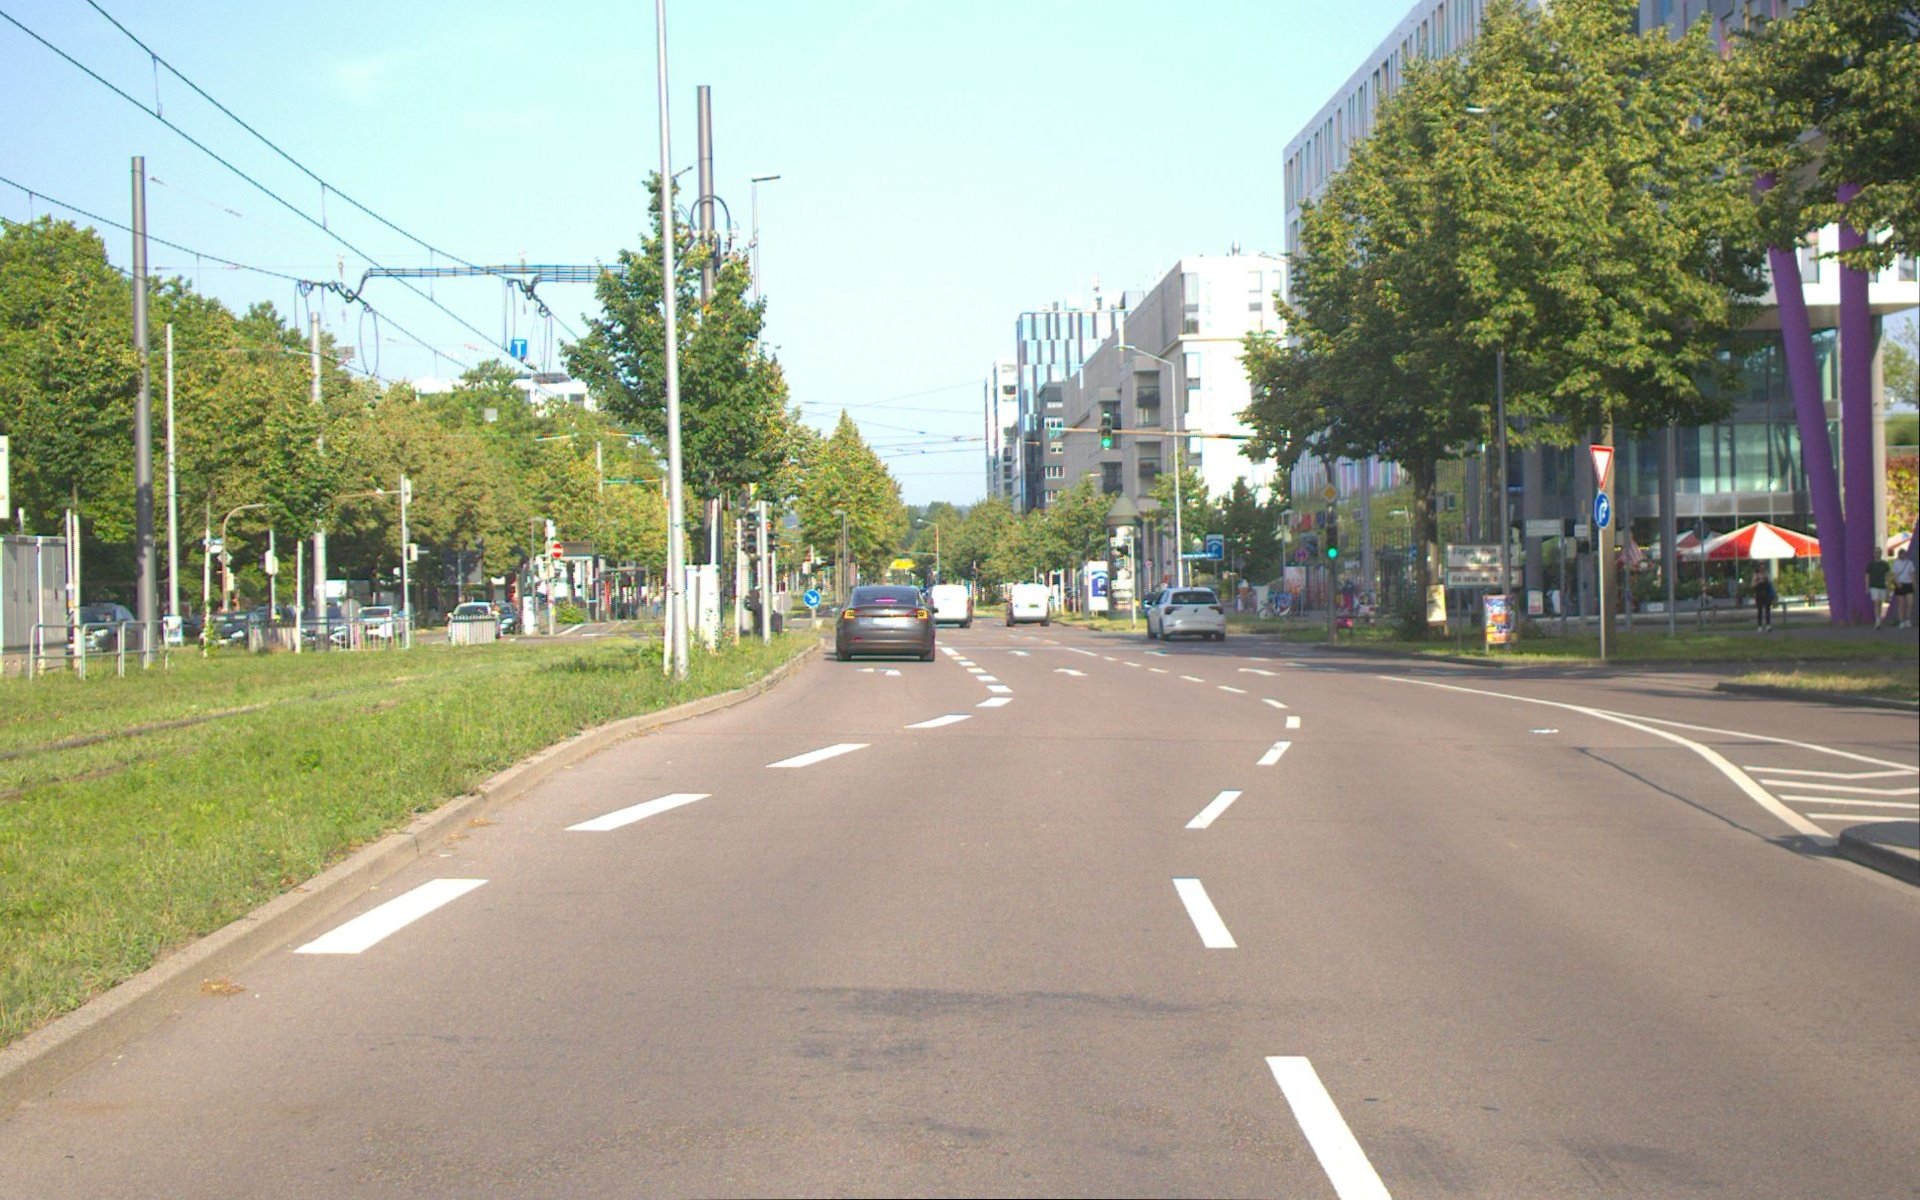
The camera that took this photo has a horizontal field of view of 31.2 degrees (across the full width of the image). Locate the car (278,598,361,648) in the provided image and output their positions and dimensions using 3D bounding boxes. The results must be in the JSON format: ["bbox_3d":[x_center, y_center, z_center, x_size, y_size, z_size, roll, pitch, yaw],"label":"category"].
[{"bbox_3d":[-22.444,0.794,120.589,1.993,1.522,4.913,-5,1,-1],"label":"car"}]

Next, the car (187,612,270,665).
[{"bbox_3d":[-25.264,1.311,118.923,1.993,1.681,4.617,-1,1,-2],"label":"car"}]

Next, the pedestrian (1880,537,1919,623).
[{"bbox_3d":[20.457,-0.429,74.375,0.768,1.819,0.853,-3,0,-2],"label":"pedestrian"}]

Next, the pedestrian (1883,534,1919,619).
[{"bbox_3d":[20.469,-0.513,74.421,0.656,1.787,0.786,-3,0,-2],"label":"pedestrian"}]

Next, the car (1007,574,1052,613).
[{"bbox_3d":[3.062,-0.298,152.152,1.864,1.678,4.000,1,1,-1],"label":"car"}]

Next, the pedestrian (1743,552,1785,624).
[{"bbox_3d":[18.591,-0.276,79.488,0.694,1.633,0.737,-3,0,-2],"label":"pedestrian"}]

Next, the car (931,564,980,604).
[{"bbox_3d":[-0.206,-0.691,147.092,2.014,1.678,4.000,1,1,-1],"label":"car"}]

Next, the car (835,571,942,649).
[{"bbox_3d":[-1.389,0.167,65.238,1.889,1.381,4.335,1,1,-3],"label":"car"}]

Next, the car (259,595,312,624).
[{"bbox_3d":[-37.047,0.512,188.903,1.881,1.554,3.999,-1,0,4],"label":"car"}]

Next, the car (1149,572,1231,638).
[{"bbox_3d":[6.149,0.116,92.091,1.864,1.678,4.000,1,1,-1],"label":"car"}]

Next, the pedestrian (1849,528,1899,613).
[{"bbox_3d":[19.755,-0.636,74.320,0.754,1.787,0.844,-3,0,-2],"label":"pedestrian"}]

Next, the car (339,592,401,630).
[{"bbox_3d":[-25.040,0.452,146.040,1.905,1.522,4.442,-1,1,-1],"label":"car"}]

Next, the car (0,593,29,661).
[{"bbox_3d":[-25.268,0.706,87.432,1.993,1.681,4.727,-1,1,-2],"label":"car"}]
